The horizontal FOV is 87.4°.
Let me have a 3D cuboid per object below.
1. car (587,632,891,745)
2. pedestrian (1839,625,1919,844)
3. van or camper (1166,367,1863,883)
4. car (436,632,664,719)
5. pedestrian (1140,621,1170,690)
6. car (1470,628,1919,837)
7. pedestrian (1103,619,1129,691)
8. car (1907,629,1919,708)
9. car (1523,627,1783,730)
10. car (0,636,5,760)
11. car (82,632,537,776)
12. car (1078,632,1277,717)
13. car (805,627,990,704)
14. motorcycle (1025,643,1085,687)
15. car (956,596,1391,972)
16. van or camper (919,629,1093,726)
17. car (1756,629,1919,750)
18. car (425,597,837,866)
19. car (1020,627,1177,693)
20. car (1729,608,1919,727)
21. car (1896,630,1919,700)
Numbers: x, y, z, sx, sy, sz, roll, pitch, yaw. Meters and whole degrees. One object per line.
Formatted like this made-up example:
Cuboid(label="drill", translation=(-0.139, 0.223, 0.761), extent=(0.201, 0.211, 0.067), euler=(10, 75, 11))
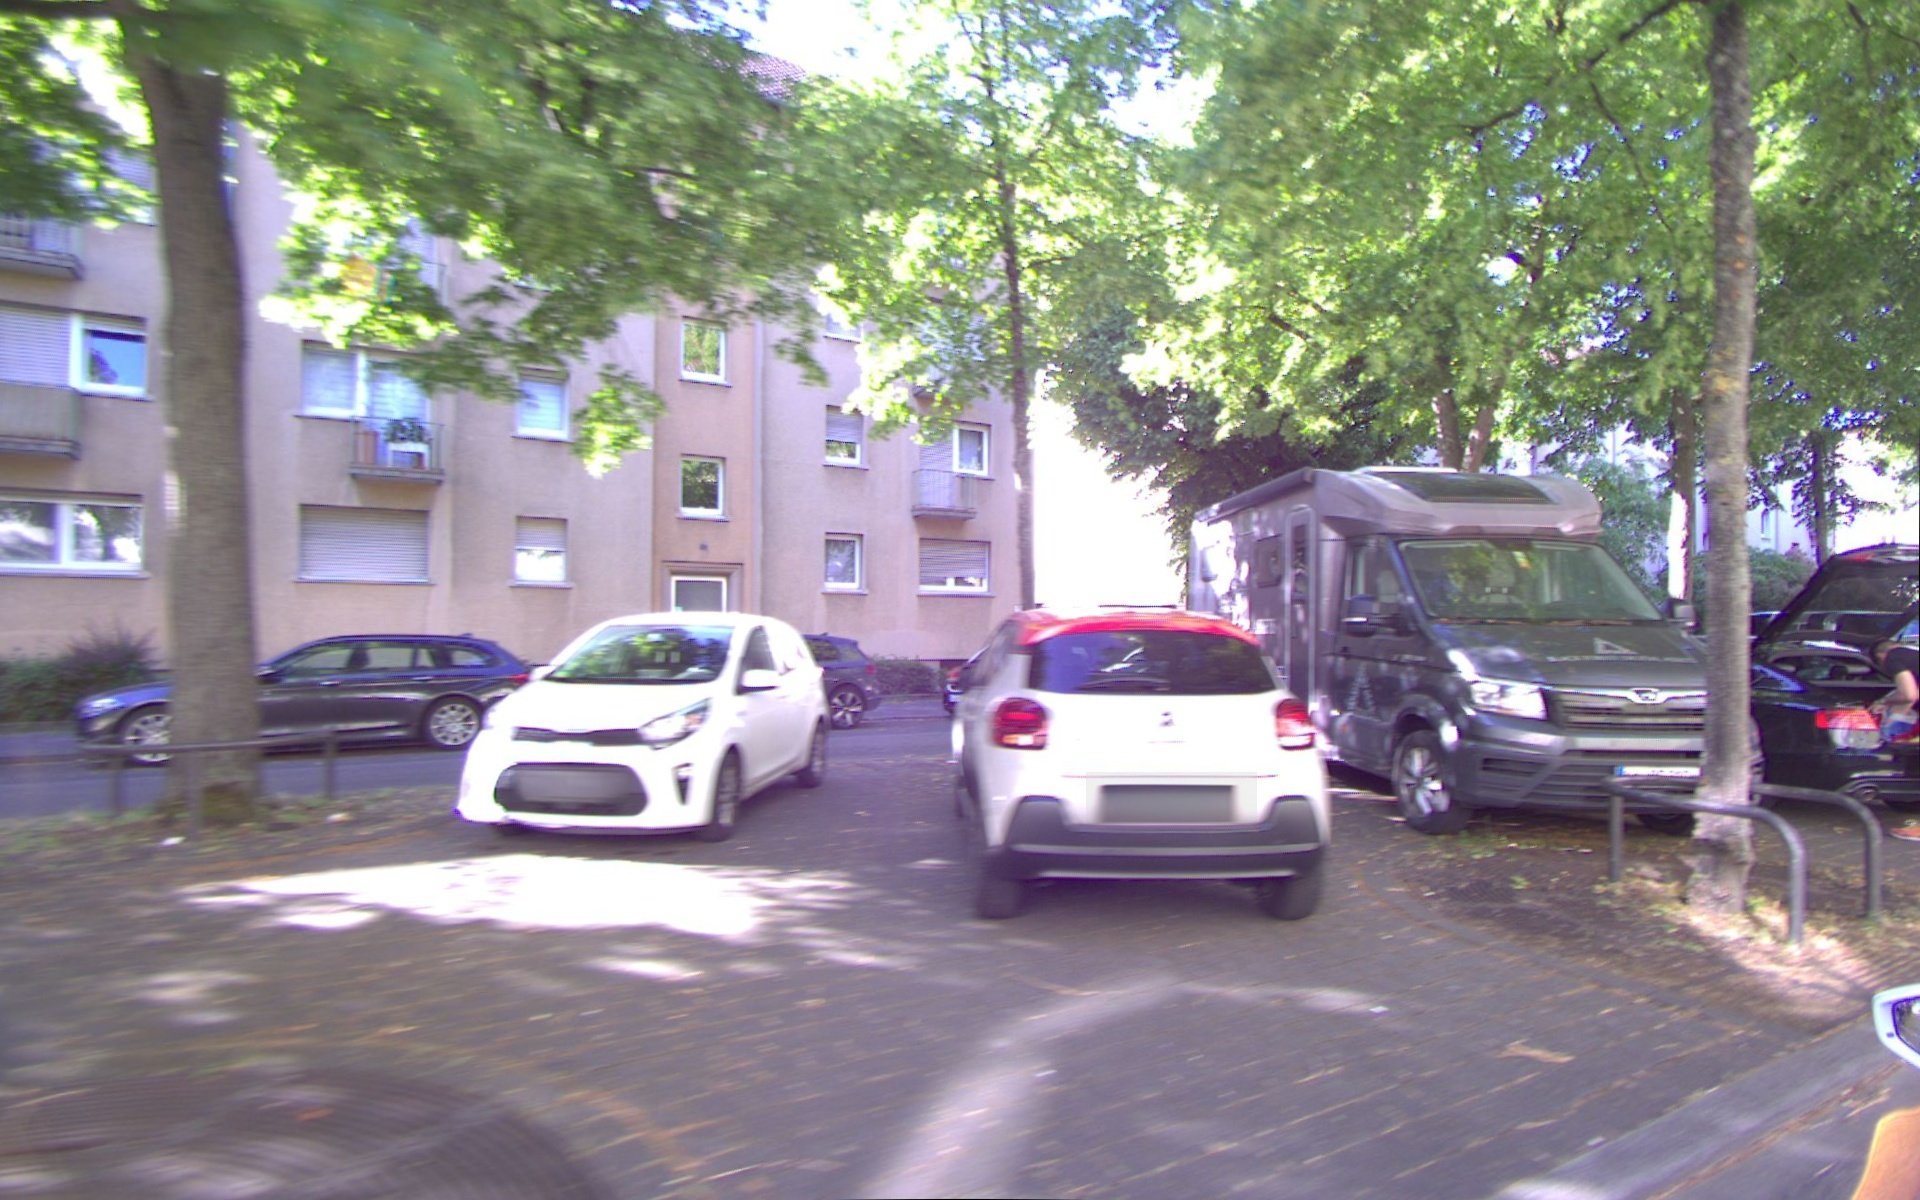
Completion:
Cuboid(label="car", translation=(-3.338, 1.254, 15.406), extent=(4.259, 1.528, 1.755), euler=(1, -2, -31))
Cuboid(label="pedestrian", translation=(6.756, 0.916, 7.015), extent=(0.585, 1.475, 0.711), euler=(0, -1, -7))
Cuboid(label="van or camper", translation=(3.977, 0.249, 9.465), extent=(2.269, 2.968, 7.248), euler=(0, -2, -3))
Cuboid(label="car", translation=(-7.268, 1.266, 17.856), extent=(3.569, 1.405, 1.617), euler=(1, -2, -30))
Cuboid(label="pedestrian", translation=(5.021, 1.419, 25.866), extent=(0.552, 1.750, 0.497), euler=(1, -2, -30))
Cuboid(label="car", translation=(6.697, 0.995, 9.244), extent=(1.643, 1.443, 4.328), euler=(0, -1, -3))
Cuboid(label="pedestrian", translation=(4.060, 1.417, 26.129), extent=(0.457, 1.851, 0.497), euler=(1, -2, -30))
Cuboid(label="car", translation=(18.603, 1.223, 16.760), extent=(1.810, 1.462, 3.956), euler=(0, -1, -2))
Cuboid(label="car", translation=(10.792, 1.159, 15.969), extent=(1.642, 1.443, 3.574), euler=(0, -1, -1))
Cuboid(label="car", translation=(-12.433, 1.090, 9.931), extent=(3.953, 1.436, 1.883), euler=(1, -2, -31))
Cuboid(label="car", translation=(-7.892, 1.168, 12.701), extent=(4.480, 1.528, 1.984), euler=(1, -2, -31))
Cuboid(label="car", translation=(4.313, 1.396, 19.795), extent=(3.725, 1.519, 1.656), euler=(1, -1, -30))
Cuboid(label="car", translation=(-1.303, 1.319, 21.146), extent=(3.569, 1.501, 1.617), euler=(1, -2, -30))
Cuboid(label="motorcycle", translation=(2.604, 1.774, 27.492), extent=(1.762, 1.159, 0.408), euler=(1, -2, -32))
Cuboid(label="car", translation=(0.866, 0.809, 6.113), extent=(1.723, 1.527, 4.000), euler=(0, -2, -1))
Cuboid(label="van or camper", translation=(0.808, 1.310, 17.716), extent=(2.666, 1.575, 1.589), euler=(1, -2, -30))
Cuboid(label="car", translation=(12.642, 1.117, 12.736), extent=(1.698, 1.462, 4.491), euler=(0, -1, 3))
Cuboid(label="car", translation=(-2.111, 0.805, 7.534), extent=(1.722, 1.527, 3.546), euler=(0, -2, 4))
Cuboid(label="car", translation=(3.391, 1.421, 24.441), extent=(3.569, 1.501, 1.617), euler=(1, -2, -30))
Cuboid(label="car", translation=(15.269, 1.054, 16.517), extent=(1.774, 1.787, 4.561), euler=(0, -1, 0))
Cuboid(label="car", translation=(20.848, 1.324, 19.484), extent=(1.687, 1.449, 4.000), euler=(0, -1, 1))
